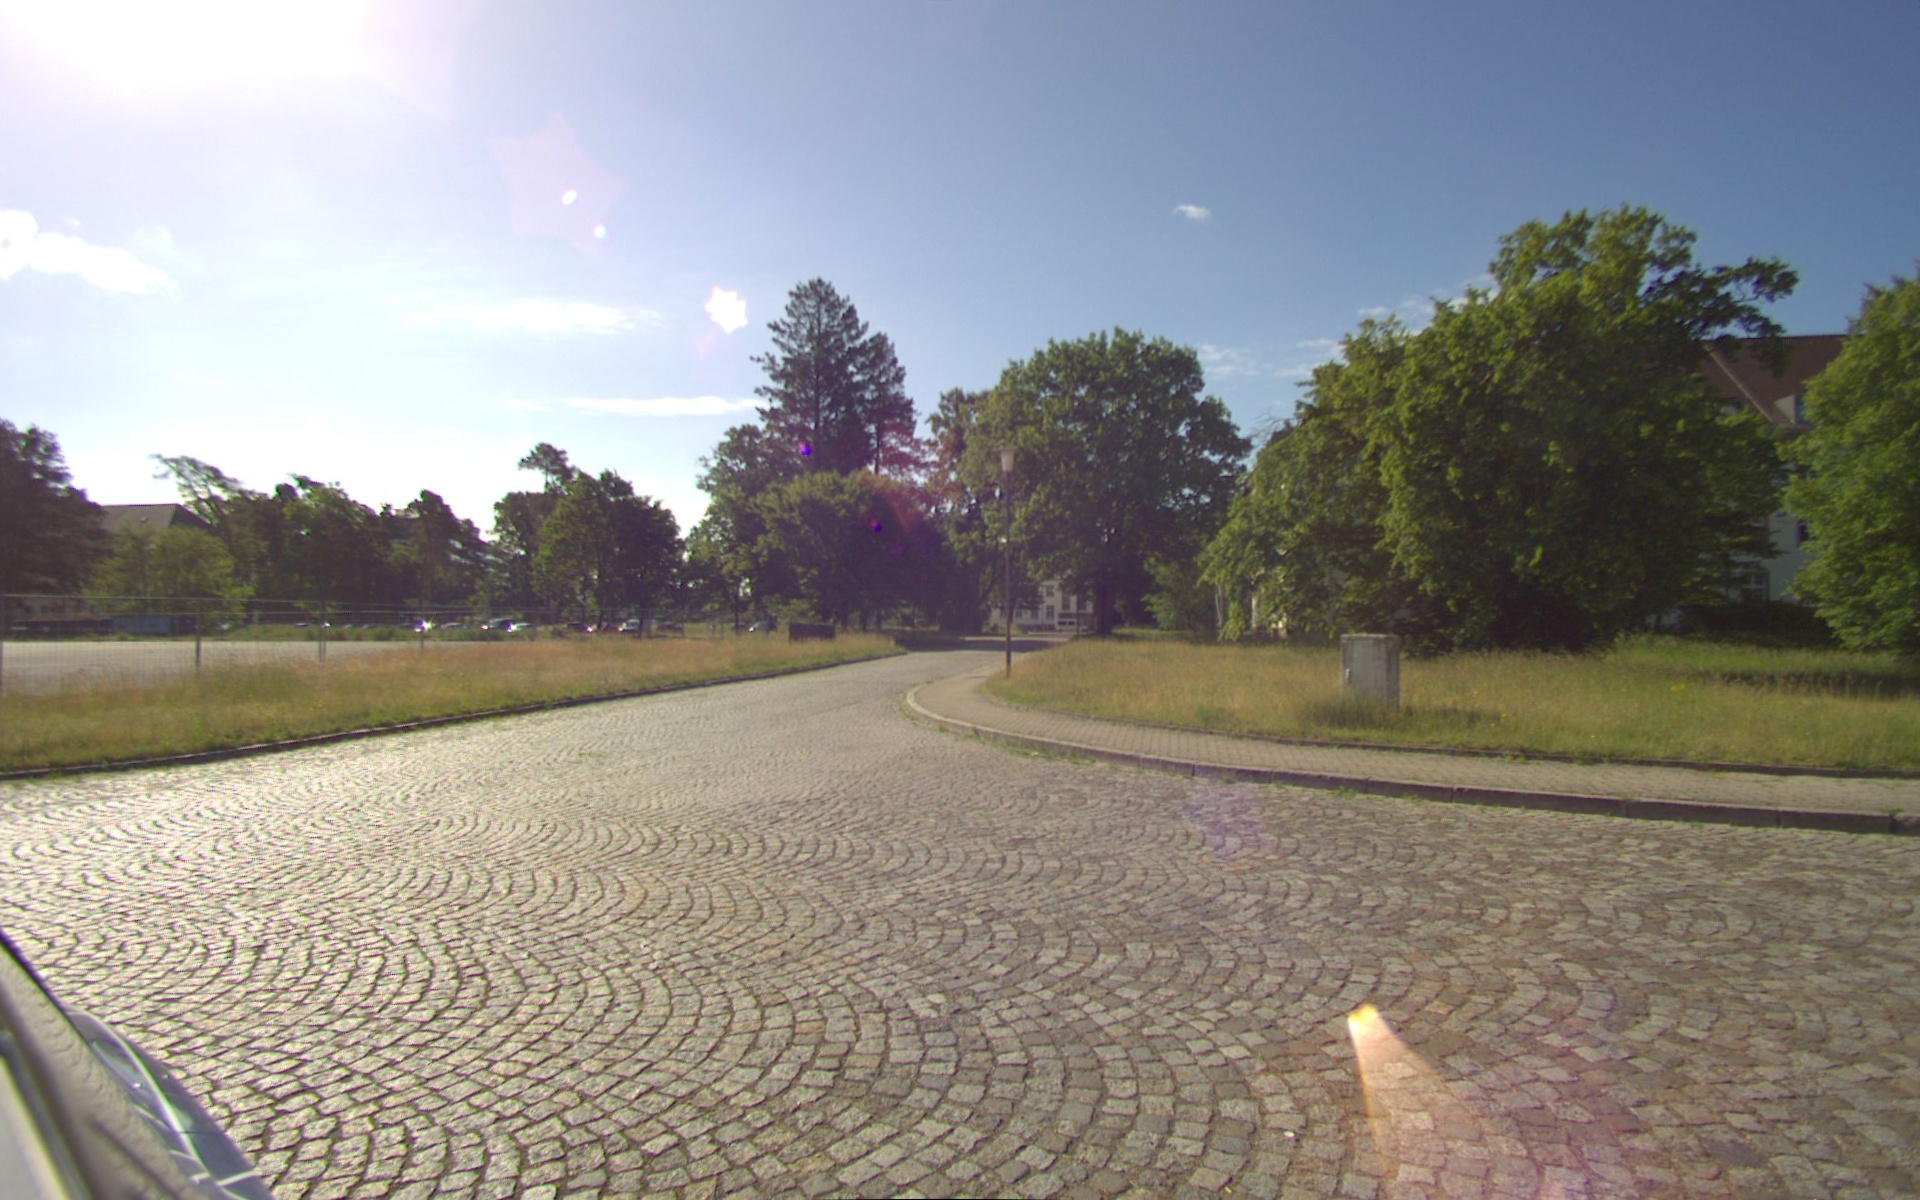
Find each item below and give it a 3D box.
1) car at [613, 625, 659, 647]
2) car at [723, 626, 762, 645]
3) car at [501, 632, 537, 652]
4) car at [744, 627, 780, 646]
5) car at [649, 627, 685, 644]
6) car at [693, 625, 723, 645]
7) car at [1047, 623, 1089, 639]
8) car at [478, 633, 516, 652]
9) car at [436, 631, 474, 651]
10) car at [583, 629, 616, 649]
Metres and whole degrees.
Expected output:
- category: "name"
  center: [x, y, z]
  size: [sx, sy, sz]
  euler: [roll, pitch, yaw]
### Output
- category: "car"
  center: [-33.440, 3.691, 104.621]
  size: [1.978, 2.029, 6.016]
  euler: [-2, 0, 10]
- category: "car"
  center: [-21.948, 3.586, 102.457]
  size: [2.225, 1.853, 4.330]
  euler: [-1, -2, 13]
- category: "car"
  center: [-46.058, 4.342, 105.750]
  size: [1.723, 2.029, 3.841]
  euler: [0, -2, 9]
- category: "car"
  center: [-19.775, 3.679, 101.228]
  size: [2.223, 1.853, 4.335]
  euler: [0, -2, 10]
- category: "car"
  center: [-29.866, 3.616, 103.278]
  size: [1.977, 1.664, 3.989]
  euler: [0, -2, 9]
- category: "car"
  center: [-25.718, 3.560, 103.429]
  size: [1.723, 2.029, 3.609]
  euler: [0, -2, 9]
- category: "car"
  center: [17.032, 4.910, 158.818]
  size: [6.381, 2.485, 2.455]
  euler: [0, -2, 11]
- category: "car"
  center: [-48.470, 4.435, 106.054]
  size: [1.724, 2.029, 3.838]
  euler: [0, -2, 11]
- category: "car"
  center: [-53.579, 4.338, 107.431]
  size: [1.724, 2.029, 3.838]
  euler: [0, -2, 11]
- category: "car"
  center: [-37.224, 4.000, 104.544]
  size: [1.723, 2.029, 3.609]
  euler: [0, -2, 9]
